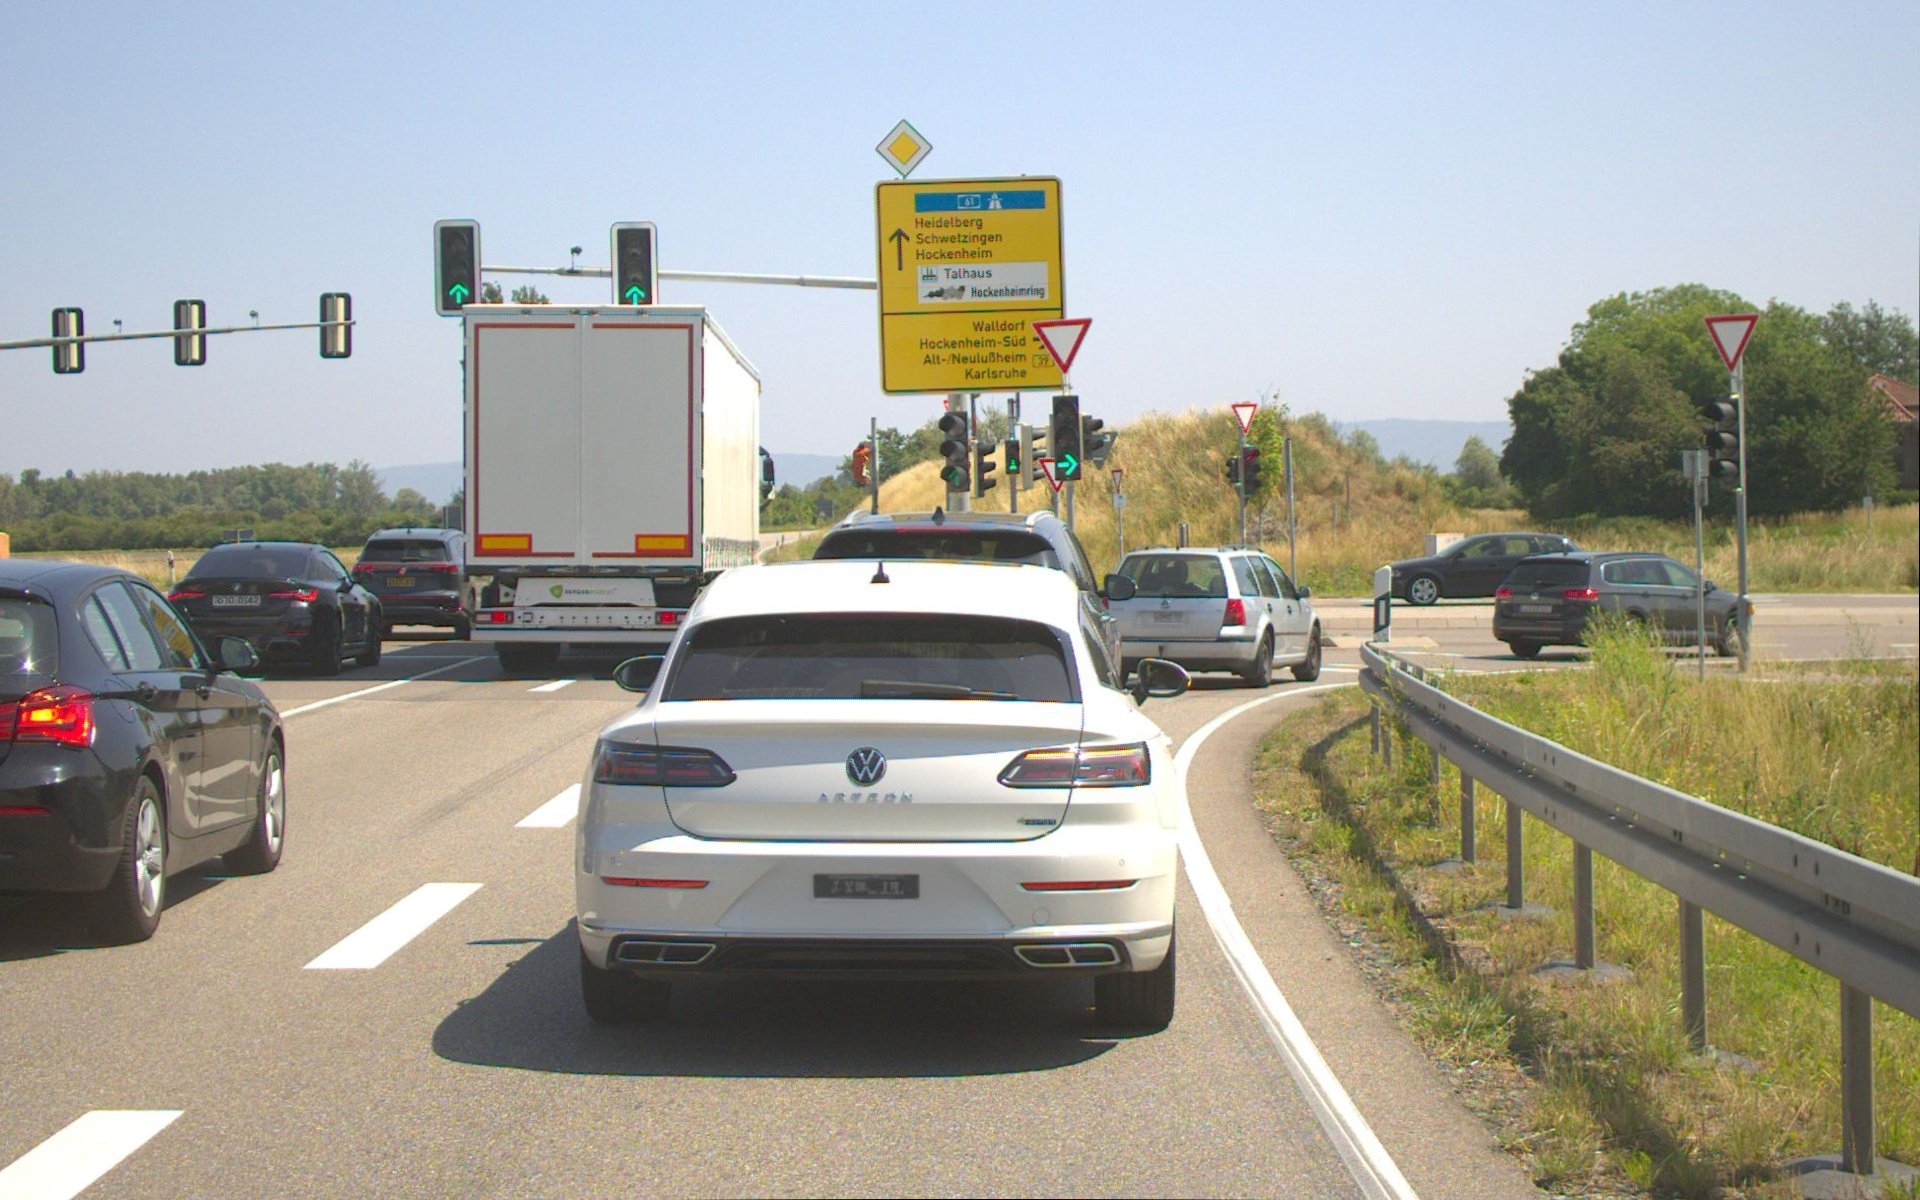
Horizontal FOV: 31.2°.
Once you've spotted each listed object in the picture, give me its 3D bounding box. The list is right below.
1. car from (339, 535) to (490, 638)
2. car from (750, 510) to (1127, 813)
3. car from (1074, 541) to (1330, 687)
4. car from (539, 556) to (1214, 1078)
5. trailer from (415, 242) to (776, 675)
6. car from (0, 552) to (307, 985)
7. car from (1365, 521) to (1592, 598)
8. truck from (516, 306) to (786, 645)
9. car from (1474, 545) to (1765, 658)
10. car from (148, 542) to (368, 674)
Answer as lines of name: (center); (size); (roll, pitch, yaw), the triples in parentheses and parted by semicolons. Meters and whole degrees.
car: (-8.217, -0.226, 52.064); (1.809, 1.488, 4.022); (0, 1, -2)
car: (-0.013, 0.300, 20.574); (1.935, 1.611, 4.378); (0, 1, 4)
car: (2.570, 0.110, 35.638); (1.801, 1.424, 4.089); (0, 1, 17)
car: (-0.254, 0.569, 11.737); (1.848, 1.428, 4.608); (0, 1, -1)
trailer: (-4.186, -1.600, 42.639); (3.381, 4.527, 12.873); (0, 1, -1)
car: (-3.899, 0.546, 13.955); (1.784, 1.426, 4.381); (1, 1, -2)
car: (10.210, -0.813, 67.917); (4.260, 1.364, 1.776); (-1, 2, 3)
truck: (-4.307, -1.727, 49.324); (3.381, 4.527, 6.373); (0, 1, -1)
car: (9.056, -0.007, 46.987); (1.804, 1.471, 4.403); (1, 1, 44)
car: (-7.815, 0.055, 38.586); (1.809, 1.393, 4.022); (0, 1, -2)
